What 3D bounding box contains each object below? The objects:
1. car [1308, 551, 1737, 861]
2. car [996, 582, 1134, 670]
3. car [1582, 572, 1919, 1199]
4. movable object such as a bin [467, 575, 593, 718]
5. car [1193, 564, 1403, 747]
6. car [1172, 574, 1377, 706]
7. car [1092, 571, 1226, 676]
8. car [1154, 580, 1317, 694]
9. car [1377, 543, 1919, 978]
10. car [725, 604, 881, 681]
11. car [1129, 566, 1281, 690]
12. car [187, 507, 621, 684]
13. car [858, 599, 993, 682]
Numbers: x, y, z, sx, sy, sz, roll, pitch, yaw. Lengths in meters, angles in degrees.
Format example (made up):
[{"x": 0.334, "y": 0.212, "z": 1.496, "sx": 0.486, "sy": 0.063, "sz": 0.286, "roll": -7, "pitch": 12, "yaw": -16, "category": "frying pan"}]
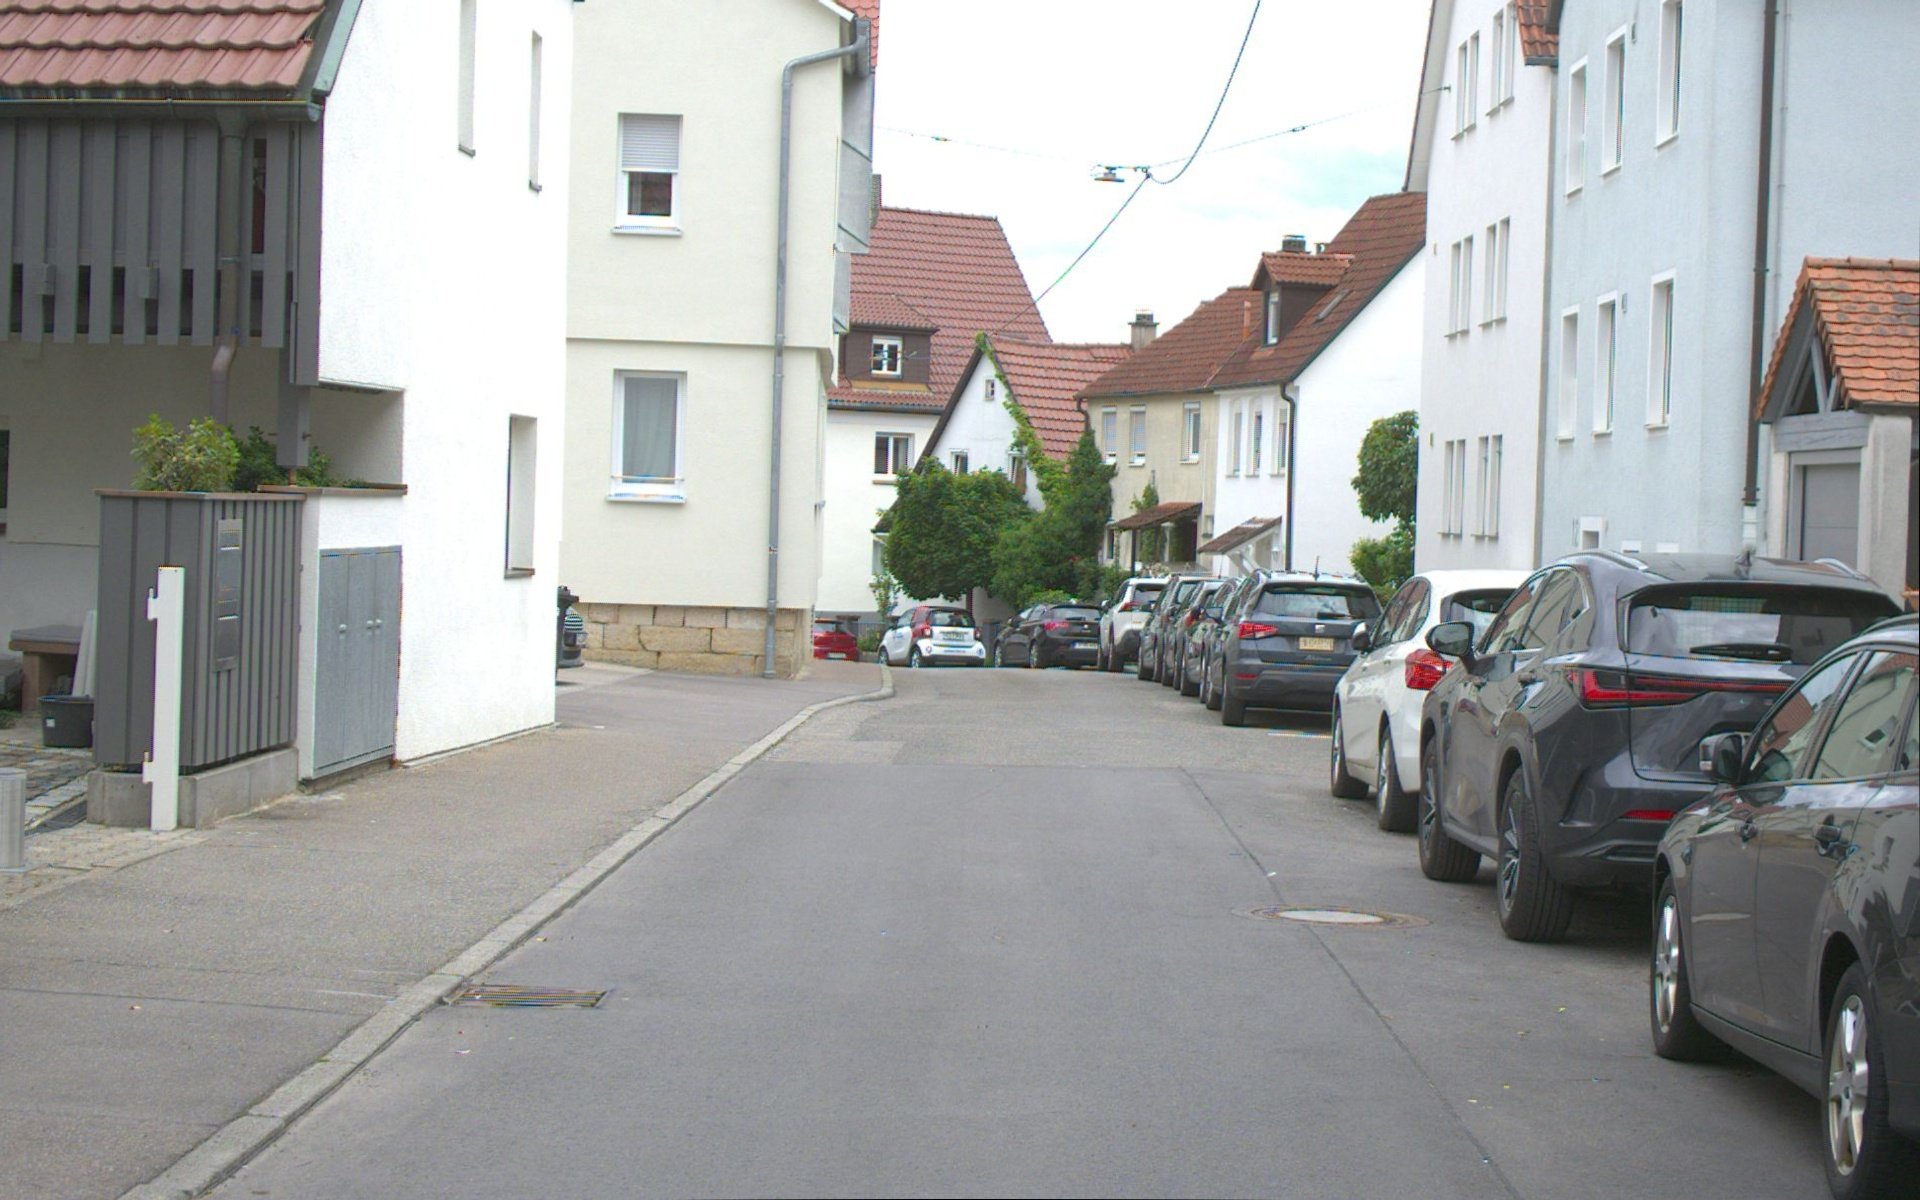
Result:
[{"x": 3.374, "y": 0.554, "z": 21.558, "sx": 1.994, "sy": 1.610, "sz": 4.878, "roll": 3, "pitch": 1, "yaw": 2, "category": "car"}, {"x": 2.128, "y": 0.562, "z": 70.840, "sx": 1.993, "sy": 1.707, "sz": 4.001, "roll": 1, "pitch": -2, "yaw": -11, "category": "car"}, {"x": 3.127, "y": 0.727, "z": 9.694, "sx": 1.948, "sy": 1.502, "sz": 4.820, "roll": 2, "pitch": 1, "yaw": 2, "category": "car"}, {"x": -3.400, "y": 0.366, "z": 27.197, "sx": 0.615, "sy": 1.072, "sz": 0.751, "roll": 5, "pitch": 0, "yaw": 23, "category": "movable object such as a bin"}, {"x": 3.346, "y": 0.502, "z": 34.737, "sx": 1.754, "sy": 1.622, "sz": 4.534, "roll": 3, "pitch": 1, "yaw": 2, "category": "car"}, {"x": 3.539, "y": 0.425, "z": 39.459, "sx": 1.918, "sy": 1.405, "sz": 4.656, "roll": 1, "pitch": 0, "yaw": 0, "category": "car"}, {"x": 3.421, "y": 0.409, "z": 59.773, "sx": 1.873, "sy": 1.707, "sz": 4.148, "roll": 2, "pitch": -1, "yaw": -2, "category": "car"}, {"x": 3.543, "y": 0.483, "z": 44.802, "sx": 1.797, "sy": 1.347, "sz": 4.074, "roll": 2, "pitch": -1, "yaw": 1, "category": "car"}, {"x": 3.141, "y": 0.601, "z": 15.676, "sx": 1.863, "sy": 1.627, "sz": 4.901, "roll": 2, "pitch": 1, "yaw": 0, "category": "car"}, {"x": -3.926, "y": 1.069, "z": 85.323, "sx": 1.994, "sy": 1.678, "sz": 3.999, "roll": -4, "pitch": 0, "yaw": -34, "category": "car"}, {"x": 3.524, "y": 0.404, "z": 50.023, "sx": 1.736, "sy": 1.605, "sz": 4.000, "roll": 5, "pitch": 0, "yaw": -1, "category": "car"}, {"x": -5.445, "y": -0.027, "z": 34.008, "sx": 3.732, "sy": 1.407, "sz": 2.120, "roll": 5, "pitch": -1, "yaw": 6, "category": "car"}, {"x": -0.841, "y": 0.920, "z": 79.843, "sx": 1.962, "sy": 1.707, "sz": 4.001, "roll": 2, "pitch": 1, "yaw": -18, "category": "car"}]
